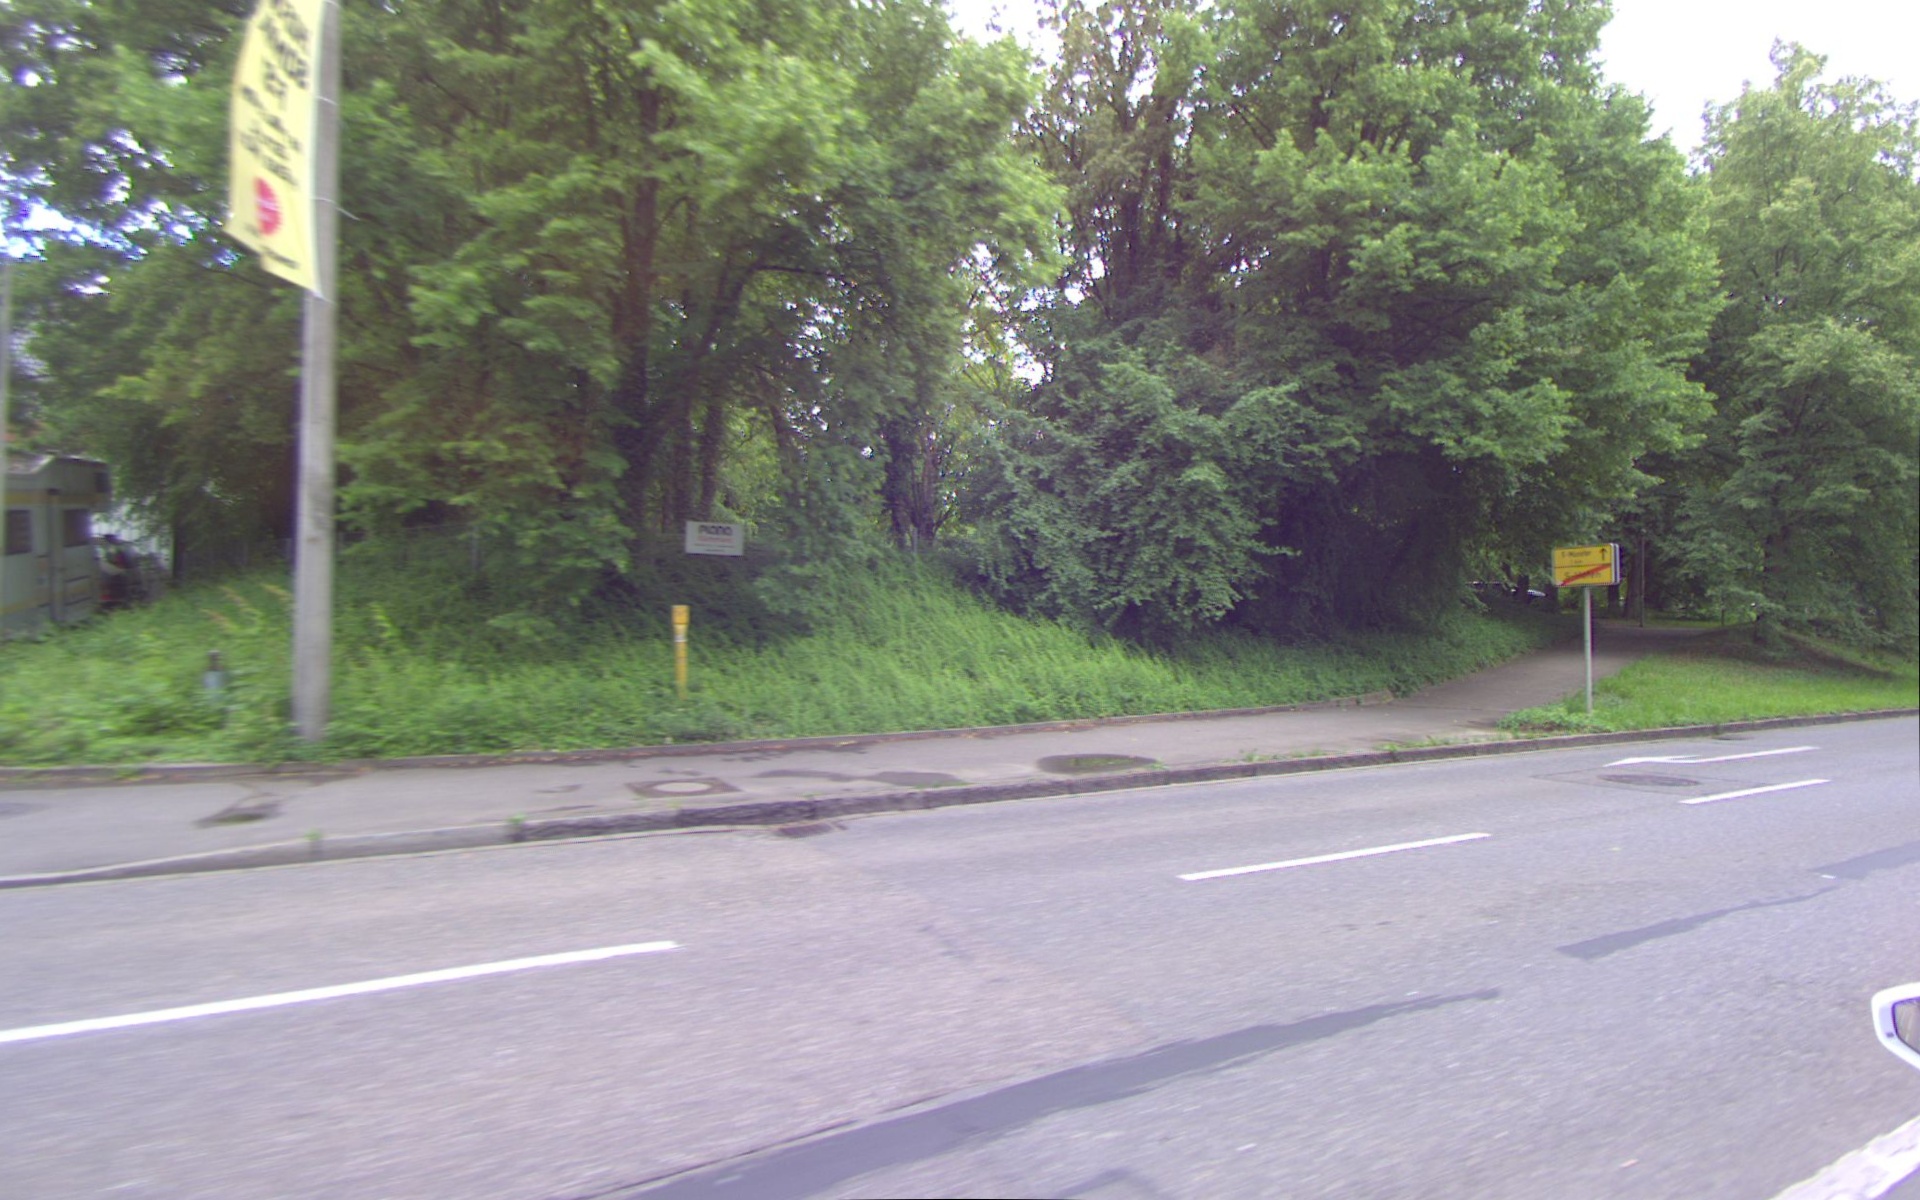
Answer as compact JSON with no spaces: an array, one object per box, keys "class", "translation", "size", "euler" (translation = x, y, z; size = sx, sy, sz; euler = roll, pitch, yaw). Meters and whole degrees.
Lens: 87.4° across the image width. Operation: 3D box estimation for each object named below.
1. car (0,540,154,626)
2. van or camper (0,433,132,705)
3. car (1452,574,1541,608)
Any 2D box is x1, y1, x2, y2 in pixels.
[{"class":"car","translation":[-20.189,-0.379,20.987],"size":[4.909,1.711,1.893],"euler":[2,0,-29]},{"class":"van or camper","translation":[-14.963,-0.693,15.017],"size":[2.763,3.417,7.106],"euler":[1,4,-30]},{"class":"car","translation":[33.876,-0.574,63.535],"size":[4.750,2.058,1.563],"euler":[1,0,21]}]
